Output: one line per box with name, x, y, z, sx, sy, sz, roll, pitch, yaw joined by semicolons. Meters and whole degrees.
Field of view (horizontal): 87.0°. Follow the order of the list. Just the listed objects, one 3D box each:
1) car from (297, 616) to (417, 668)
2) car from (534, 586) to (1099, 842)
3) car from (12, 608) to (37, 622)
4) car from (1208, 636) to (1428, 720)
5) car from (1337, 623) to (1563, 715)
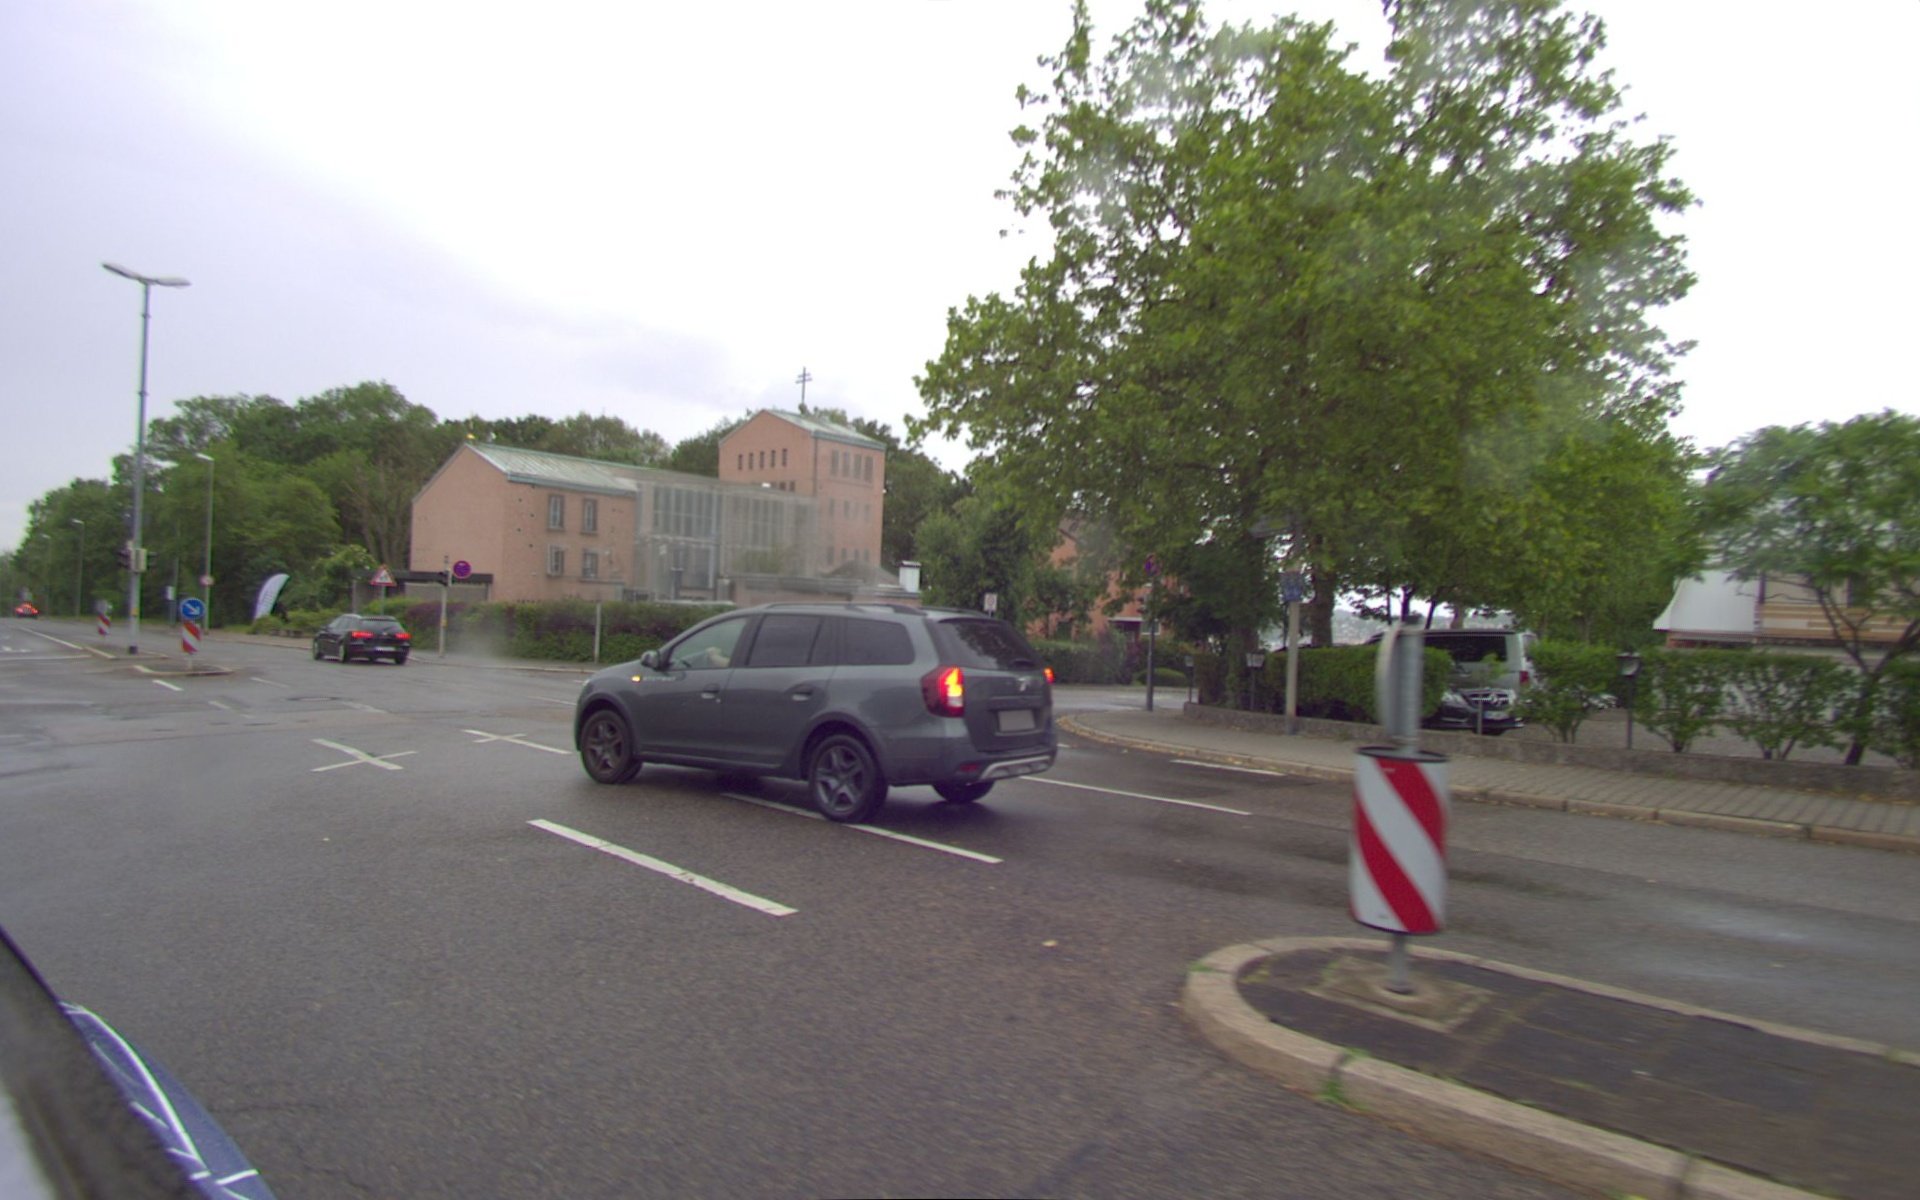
car;-18.199;1.242;30.485;4.415;1.438;1.887;-1;-3;43
car;-1.295;0.765;8.343;4.489;1.589;1.883;-1;-3;33
car;-115.067;1.842;124.415;4.317;1.603;1.888;0;-1;43
car;7.570;1.656;21.618;4.000;1.564;1.788;-5;-3;43
car;10.576;1.501;22.008;4.000;1.776;1.788;-5;-4;43
